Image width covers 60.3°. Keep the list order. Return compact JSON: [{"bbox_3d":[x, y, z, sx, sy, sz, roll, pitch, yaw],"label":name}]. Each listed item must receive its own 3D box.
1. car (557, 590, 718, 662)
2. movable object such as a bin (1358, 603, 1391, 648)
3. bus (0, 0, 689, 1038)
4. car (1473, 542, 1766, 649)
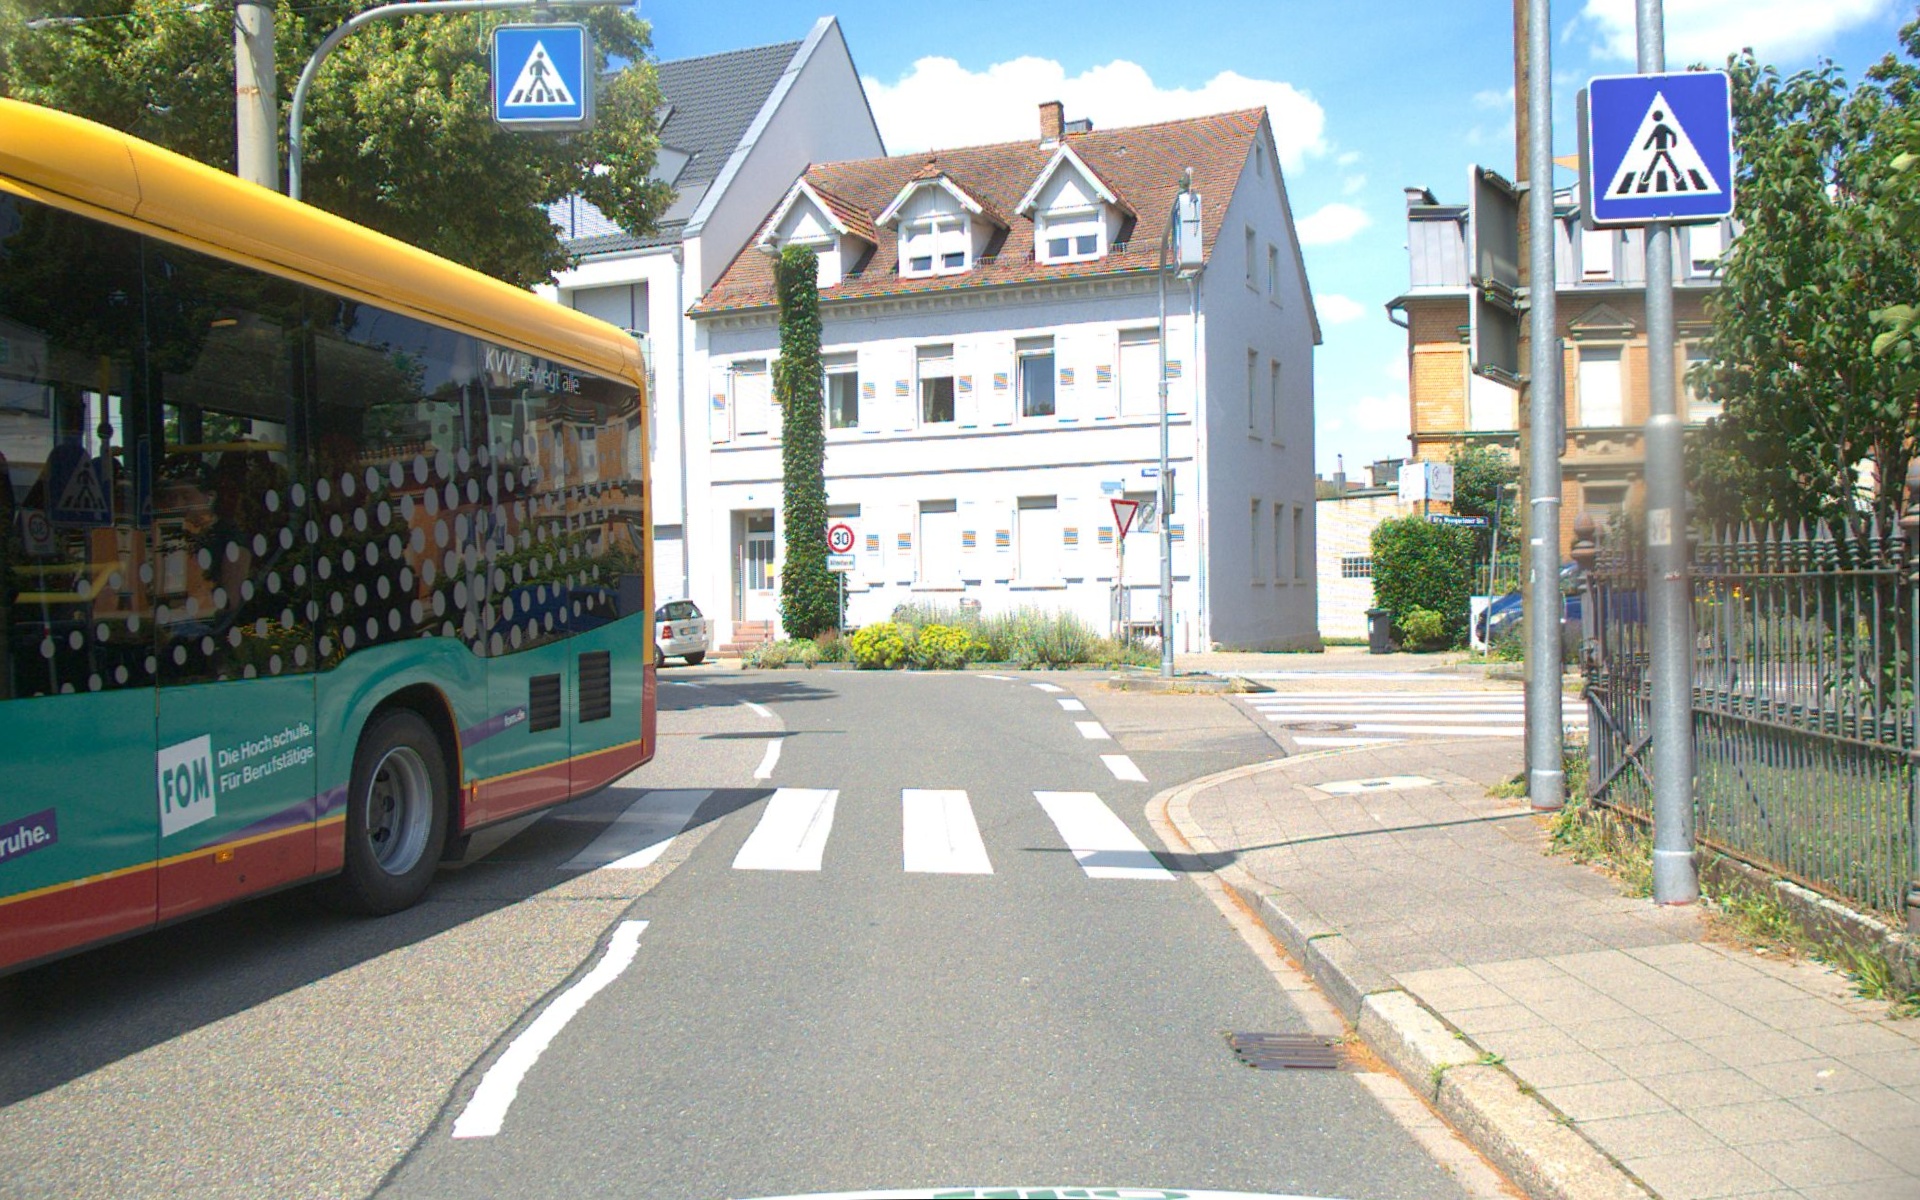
[{"bbox_3d":[-7.568,0.600,38.811,3.539,1.614,1.581,0,-2,31],"label":"car"},{"bbox_3d":[8.748,0.546,34.891,0.413,0.932,0.555,2,-2,-25],"label":"movable object such as a bin"},{"bbox_3d":[-4.284,-0.310,5.167,2.720,3.264,12.317,1,1,11],"label":"bus"},{"bbox_3d":[13.167,-0.095,33.345,5.113,1.981,2.085,-1,1,8],"label":"car"}]
